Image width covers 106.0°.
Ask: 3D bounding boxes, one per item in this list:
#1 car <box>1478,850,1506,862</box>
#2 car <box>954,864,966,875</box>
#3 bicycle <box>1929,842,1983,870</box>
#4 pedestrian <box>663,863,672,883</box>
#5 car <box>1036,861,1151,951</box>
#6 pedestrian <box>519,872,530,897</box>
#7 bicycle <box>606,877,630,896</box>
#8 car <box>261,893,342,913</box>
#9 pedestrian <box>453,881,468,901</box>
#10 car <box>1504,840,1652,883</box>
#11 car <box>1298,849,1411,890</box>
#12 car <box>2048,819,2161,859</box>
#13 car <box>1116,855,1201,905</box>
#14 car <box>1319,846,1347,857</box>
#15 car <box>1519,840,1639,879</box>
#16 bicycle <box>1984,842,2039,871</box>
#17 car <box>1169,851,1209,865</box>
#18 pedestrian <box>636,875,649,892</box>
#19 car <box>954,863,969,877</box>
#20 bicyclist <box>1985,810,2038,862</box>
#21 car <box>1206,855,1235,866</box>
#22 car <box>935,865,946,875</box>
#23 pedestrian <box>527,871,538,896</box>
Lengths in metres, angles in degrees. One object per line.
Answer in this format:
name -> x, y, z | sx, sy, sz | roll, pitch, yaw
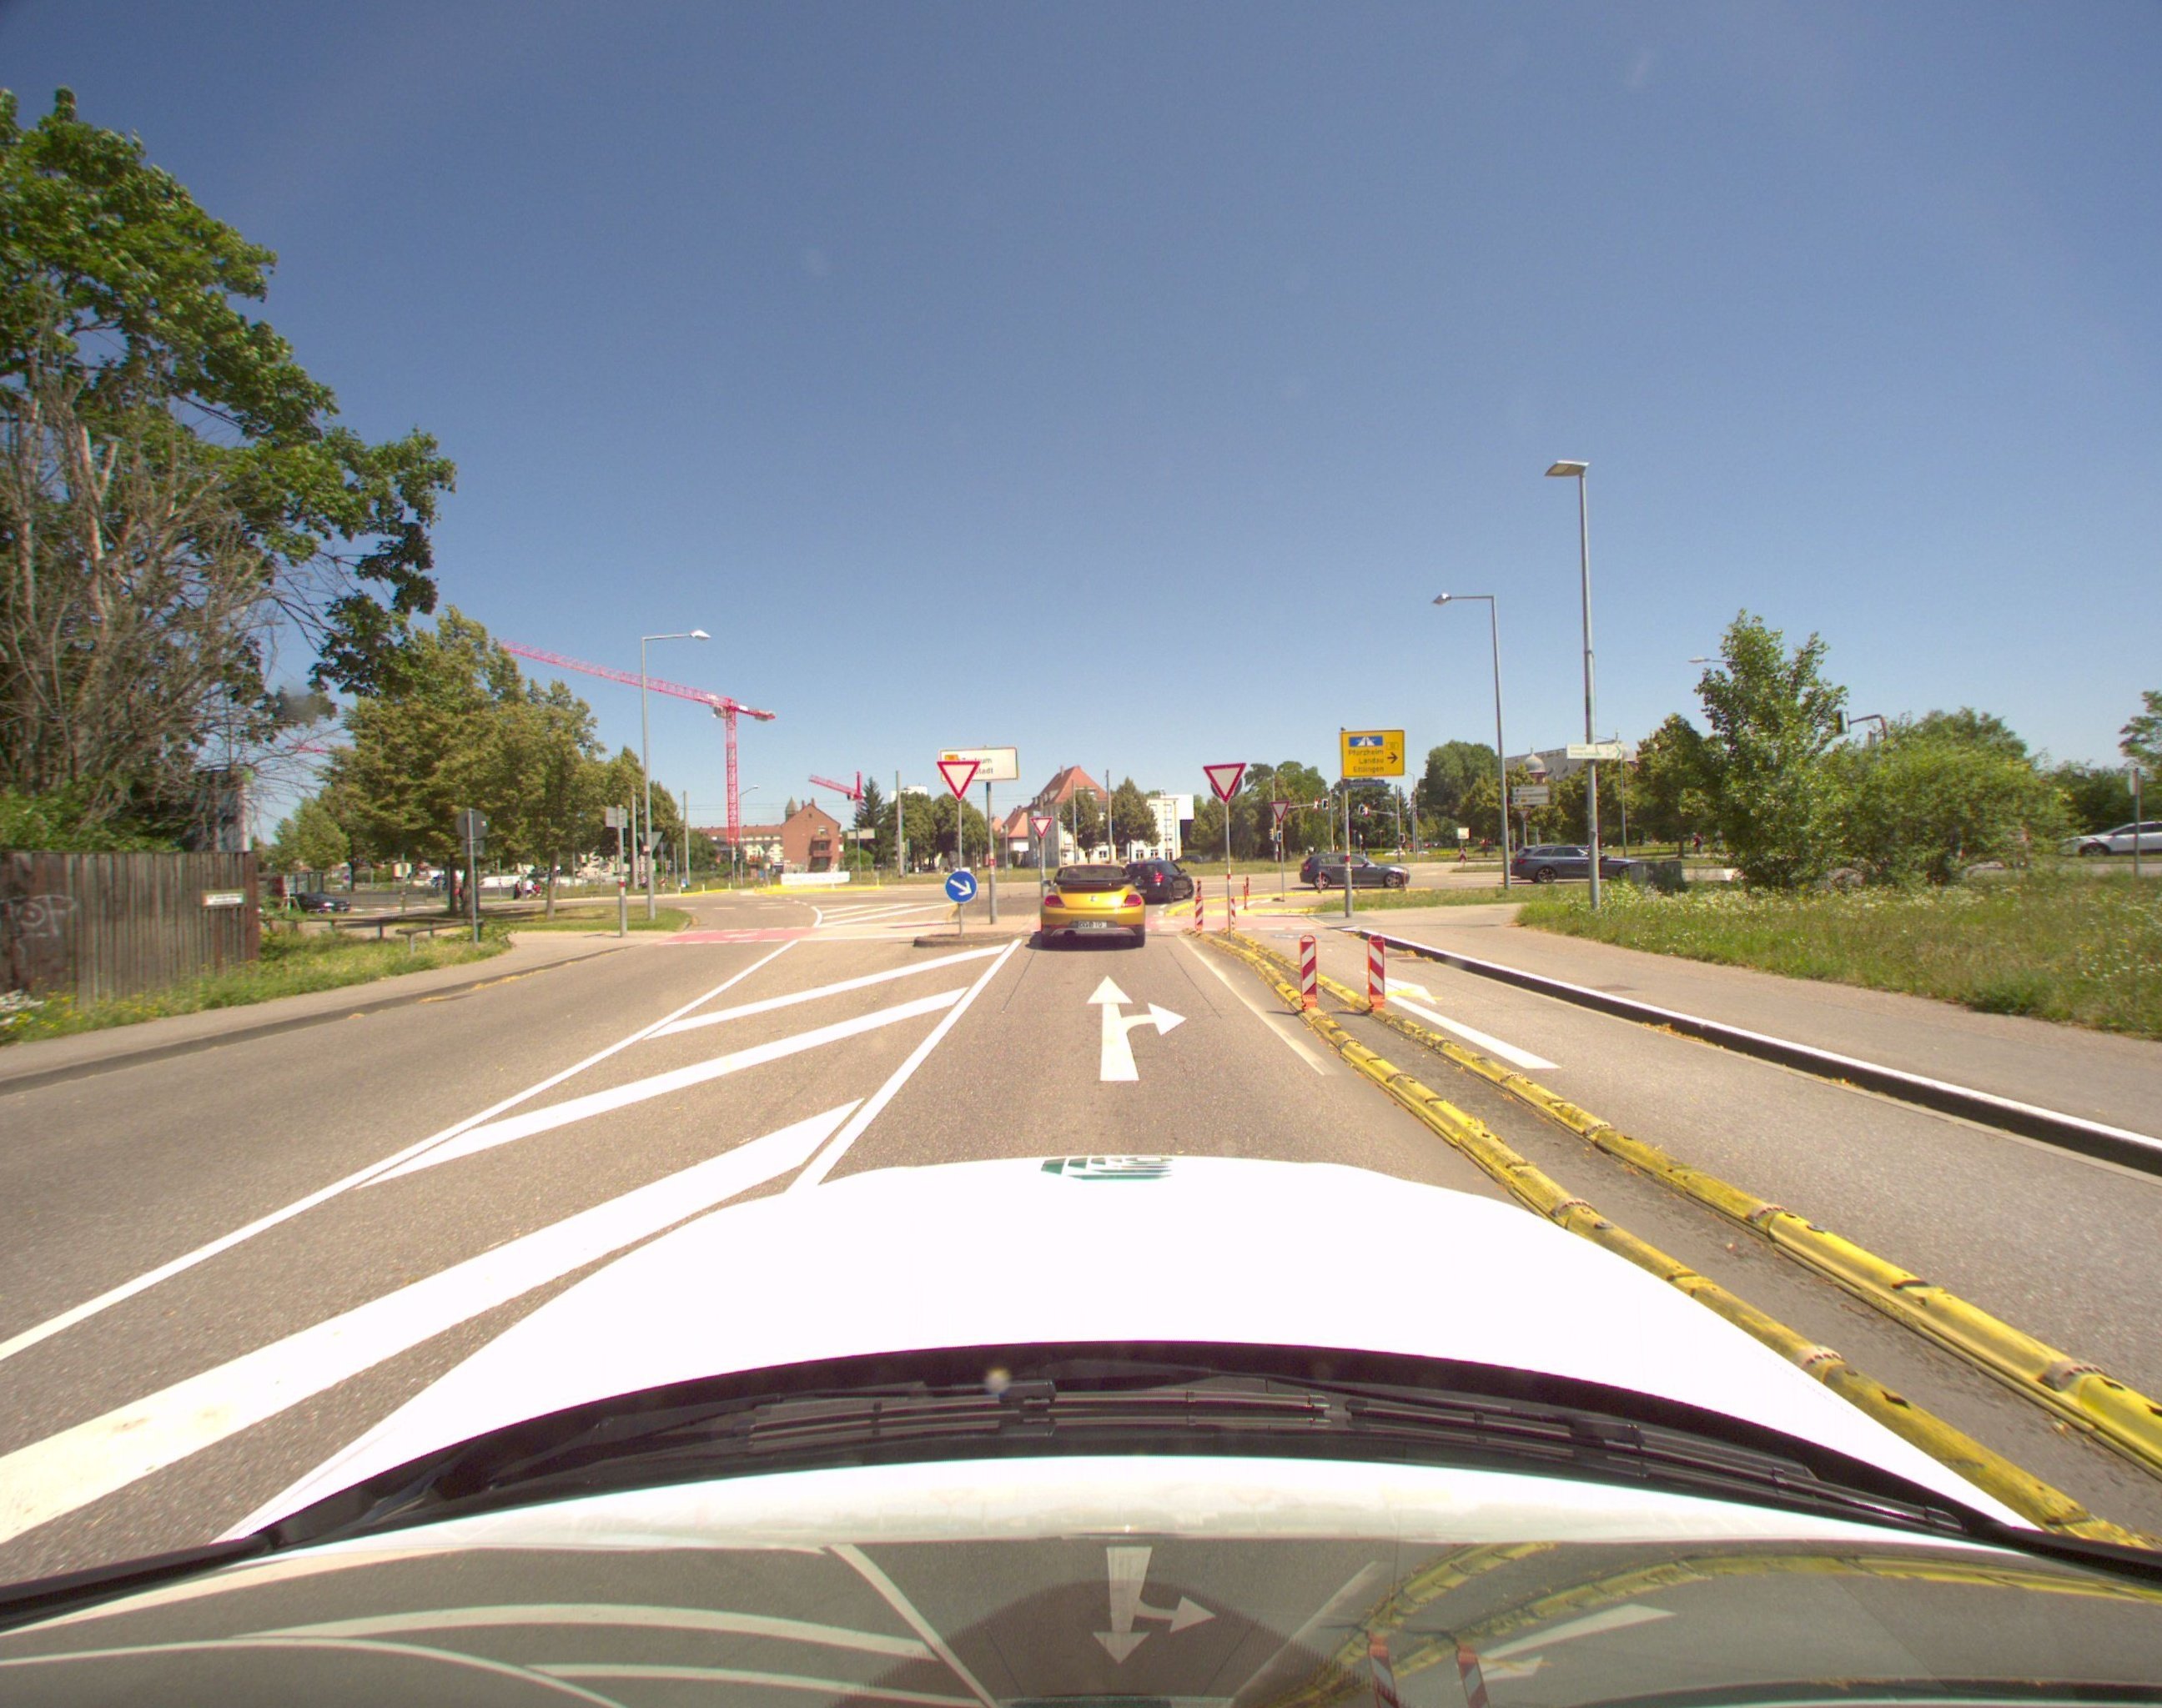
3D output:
car -> 71.357, 0.285, 141.523 | 3.949, 2.014, 2.012 | -1, -1, 40
car -> -23.522, 3.024, 158.369 | 1.994, 2.014, 3.984 | 0, -1, -11
bicycle -> 31.696, 0.065, 29.495 | 1.767, 0.900, 0.890 | -3, 2, -27
pedestrian -> -41.446, 1.925, 81.606 | 0.599, 2.014, 0.595 | -1, -1, 1
car -> 0.257, 0.857, 14.970 | 1.819, 1.403, 3.663 | -1, 0, 2
pedestrian -> -43.197, 2.378, 63.164 | 0.631, 1.934, 0.640 | -2, 0, -33
bicycle -> -41.954, 2.968, 73.877 | 0.554, 1.685, 2.095 | -1, -1, 17
car -> -49.544, 3.107, 51.776 | 3.539, 1.212, 1.743 | -1, -1, 3
pedestrian -> -43.661, 2.591, 57.285 | 0.539, 1.406, 0.598 | -2, 0, 5
car -> 18.543, 0.297, 30.636 | 4.404, 1.418, 2.010 | -2, 0, 19
car -> 10.695, 0.601, 32.115 | 4.039, 1.403, 1.759 | -2, 0, 12
car -> 45.356, -0.647, 35.183 | 4.352, 1.618, 1.876 | -2, 0, 44
car -> 2.678, 0.830, 27.282 | 1.781, 1.440, 4.021 | -1, 1, 21
car -> 40.838, -0.397, 131.895 | 3.948, 1.574, 2.013 | -1, -1, 37
car -> 20.773, 0.235, 34.139 | 3.956, 1.422, 1.790 | -2, 0, 16
bicycle -> 30.298, 0.070, 26.511 | 2.234, 0.900, 0.889 | -1, 0, -33
car -> 11.911, 0.487, 89.755 | 3.949, 1.464, 2.012 | -1, -1, 28
pedestrian -> -43.079, 2.911, 79.965 | 0.773, 1.640, 0.764 | -1, -1, 14
car -> -17.690, 2.375, 120.115 | 1.994, 2.014, 3.984 | 0, -1, -11
bicyclist -> 30.306, -0.574, 26.525 | 1.190, 1.610, 0.950 | 0, -1, -33
car -> 21.430, 0.998, 125.002 | 3.988, 1.684, 1.992 | 0, -1, -11
car -> -27.722, 3.102, 160.570 | 1.994, 2.014, 3.984 | 0, -1, -11
pedestrian -> -43.135, 2.293, 64.045 | 0.631, 1.934, 0.640 | -2, 0, -33
